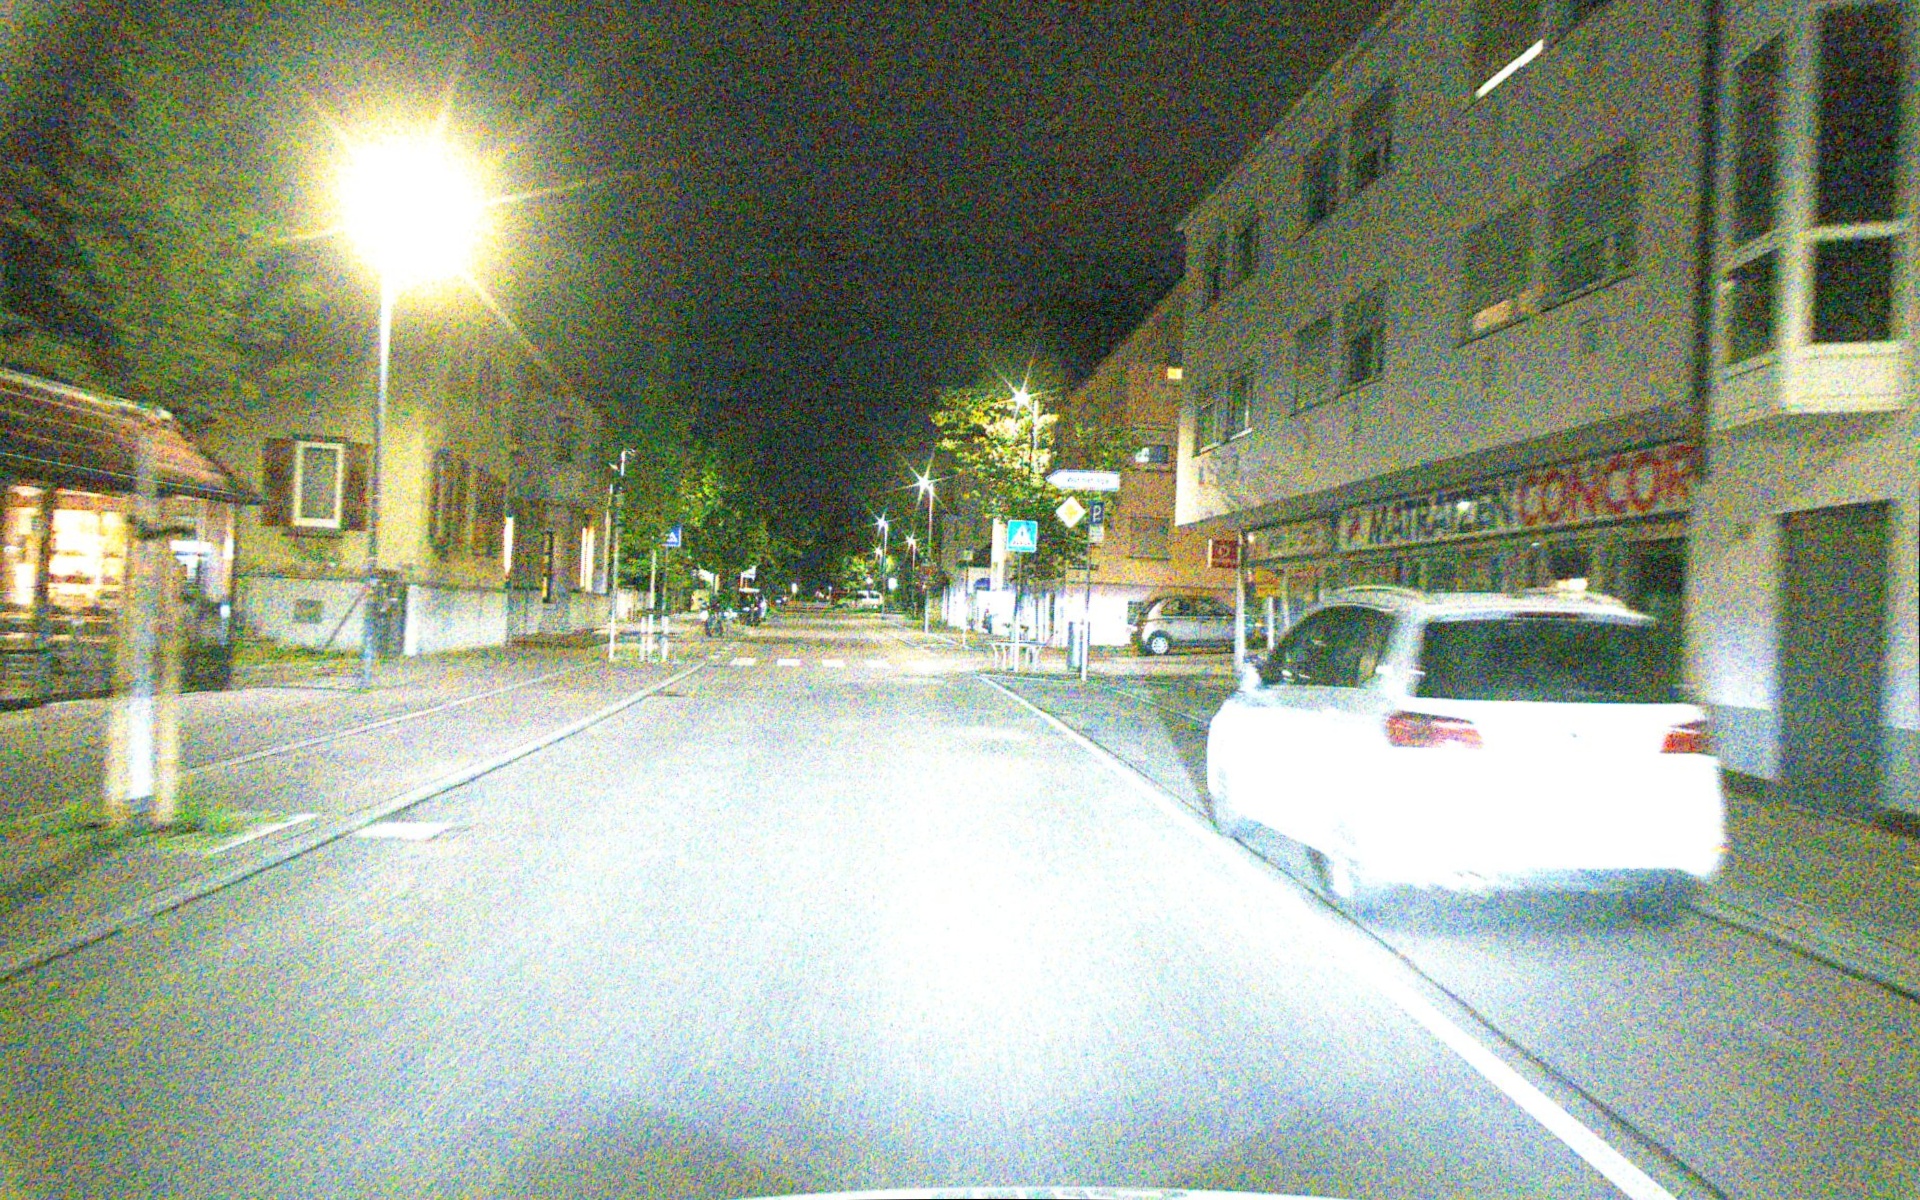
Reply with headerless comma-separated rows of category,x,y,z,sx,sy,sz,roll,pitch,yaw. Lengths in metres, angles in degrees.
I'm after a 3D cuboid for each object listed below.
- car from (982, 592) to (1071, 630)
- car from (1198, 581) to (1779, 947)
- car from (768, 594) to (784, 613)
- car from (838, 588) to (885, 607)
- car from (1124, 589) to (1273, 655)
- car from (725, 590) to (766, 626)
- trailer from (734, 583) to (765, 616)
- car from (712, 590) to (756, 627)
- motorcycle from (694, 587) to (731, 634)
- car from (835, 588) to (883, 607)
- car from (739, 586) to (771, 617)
car,2.801,0.447,70.140,3.637,1.499,1.729,2,0,-3
car,2.640,0.711,9.380,1.708,1.596,4.205,0,0,-4
car,-22.360,0.470,200.644,1.790,2.021,4.458,3,-2,-7
car,-10.776,-0.301,181.147,5.084,2.049,2.098,0,0,-7
car,6.148,0.548,42.910,3.438,1.551,1.818,-2,0,-7
car,-10.017,0.344,77.467,1.732,1.546,4.273,2,0,-6
trailer,-12.009,-0.030,94.587,1.419,1.717,3.424,4,0,-3
car,-9.843,0.343,72.228,1.655,1.537,4.274,1,0,-5
motorcycle,-7.955,0.335,53.152,0.730,1.477,2.196,1,0,3
car,-10.867,-0.276,178.058,5.084,2.049,2.098,0,0,-7
car,-11.336,0.073,91.410,1.640,1.548,2.974,4,0,-7
